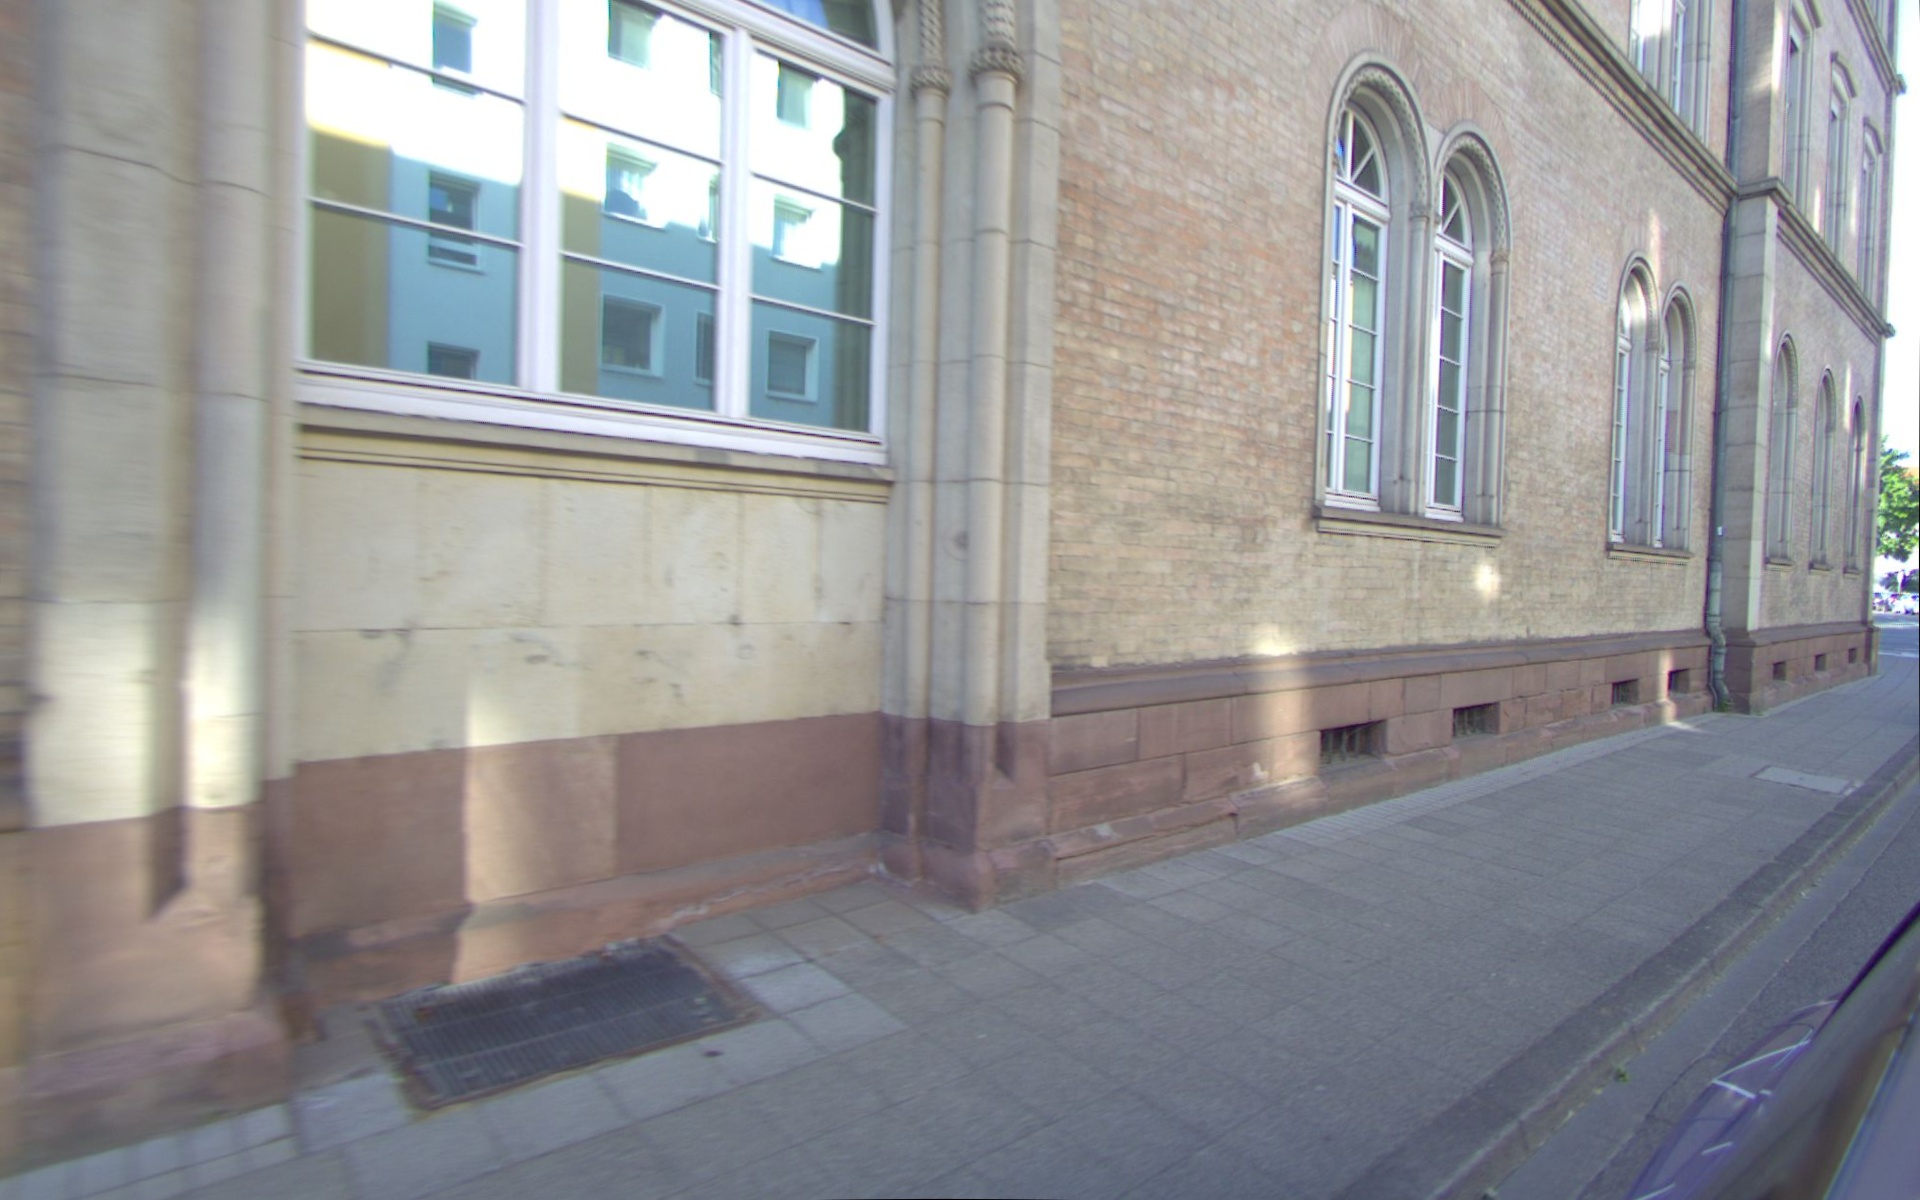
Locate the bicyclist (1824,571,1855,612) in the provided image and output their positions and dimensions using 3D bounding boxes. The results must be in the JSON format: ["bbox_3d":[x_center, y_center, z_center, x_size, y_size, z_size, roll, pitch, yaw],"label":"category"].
[{"bbox_3d":[40.424,-0.388,46.519,0.973,1.830,1.116,2,1,38],"label":"bicyclist"}]

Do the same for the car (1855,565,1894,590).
[{"bbox_3d":[74.845,-1.832,82.899,1.989,2.038,3.947,2,2,37],"label":"car"}]

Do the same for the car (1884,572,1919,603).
[{"bbox_3d":[65.218,-0.870,69.653,1.989,2.038,3.947,2,2,37],"label":"car"}]

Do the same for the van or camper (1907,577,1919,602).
[{"bbox_3d":[85.341,-0.862,87.457,4.690,2.113,1.980,2,1,29],"label":"van or camper"}]

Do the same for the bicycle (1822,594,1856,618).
[{"bbox_3d":[40.499,0.251,46.671,0.937,1.051,2.966,2,2,37],"label":"bicycle"}]

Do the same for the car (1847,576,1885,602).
[{"bbox_3d":[77.399,-0.910,86.500,1.989,2.039,3.946,2,0,37],"label":"car"}]

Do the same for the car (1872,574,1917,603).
[{"bbox_3d":[67.826,-0.829,73.492,1.989,2.038,3.947,2,2,37],"label":"car"}]
